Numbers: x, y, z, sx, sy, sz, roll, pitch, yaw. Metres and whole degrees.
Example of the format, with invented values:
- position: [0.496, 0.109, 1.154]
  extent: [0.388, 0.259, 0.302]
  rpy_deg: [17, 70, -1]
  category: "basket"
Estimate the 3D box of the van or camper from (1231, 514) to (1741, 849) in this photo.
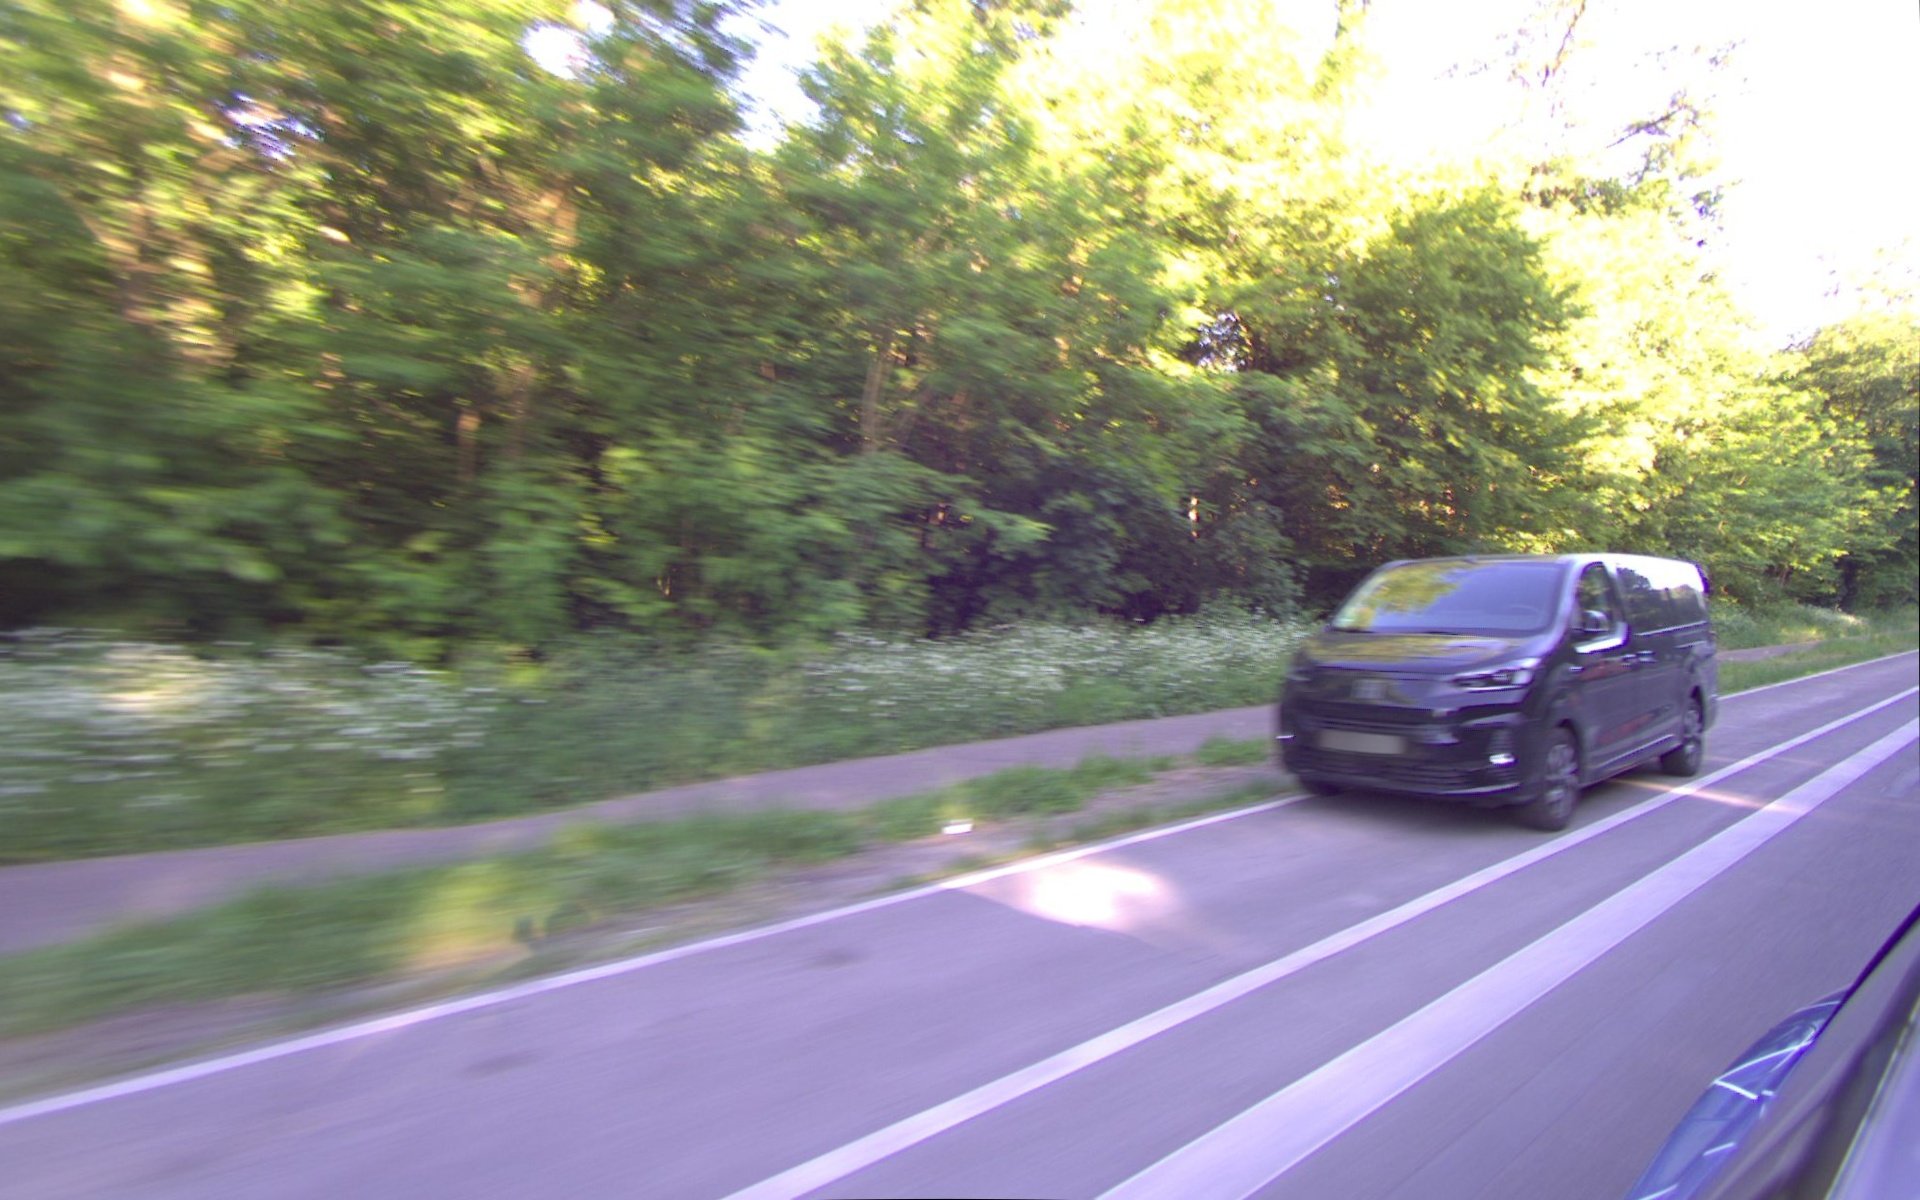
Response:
- position: [4.575, 0.470, 8.362]
  extent: [5.107, 1.956, 1.997]
  rpy_deg: [0, 0, -41]
  category: "van or camper"
